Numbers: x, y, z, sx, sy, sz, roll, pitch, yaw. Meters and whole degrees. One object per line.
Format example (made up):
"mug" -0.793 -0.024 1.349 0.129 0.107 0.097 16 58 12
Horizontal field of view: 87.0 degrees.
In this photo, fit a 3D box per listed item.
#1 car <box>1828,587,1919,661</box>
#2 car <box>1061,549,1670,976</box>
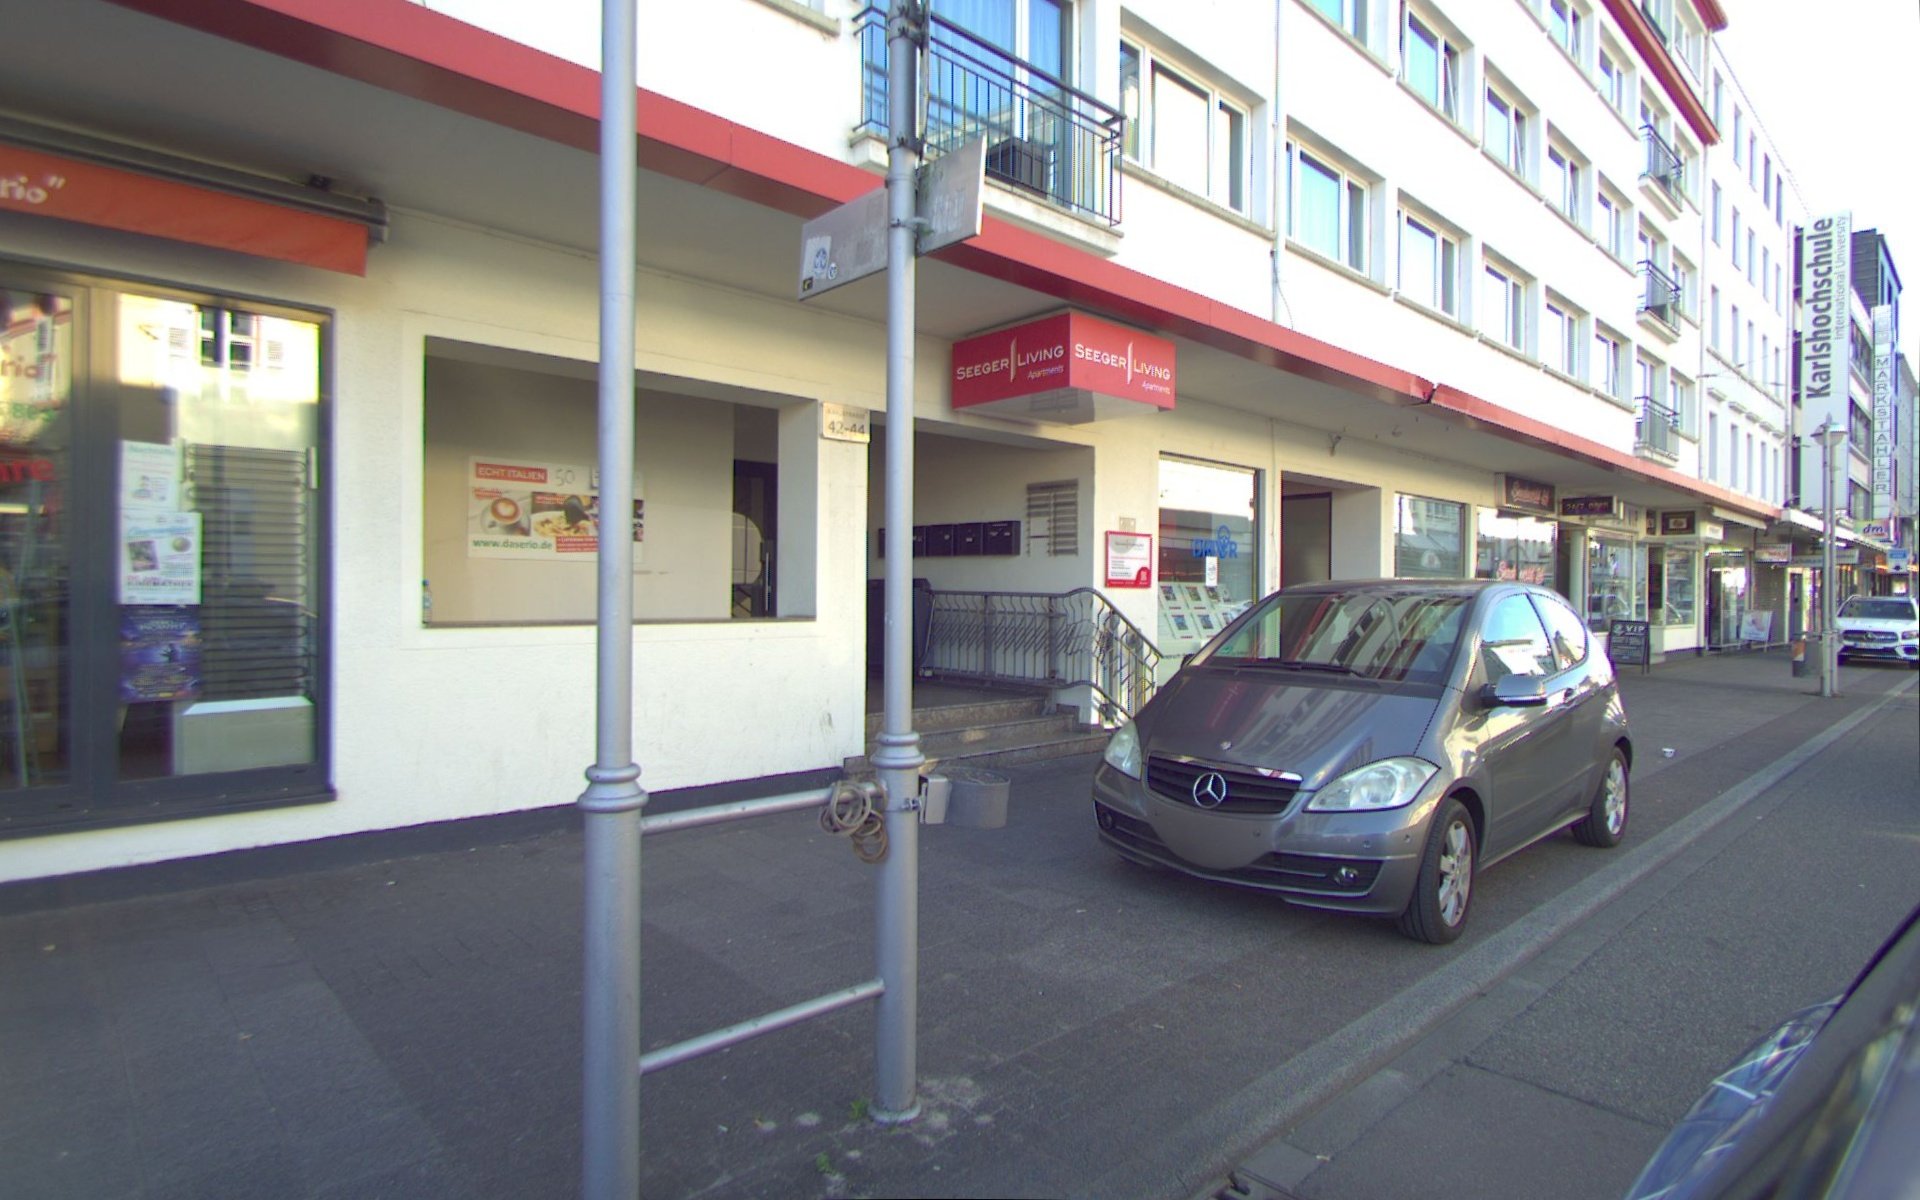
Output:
"car" 22.391 0.525 24.356 1.994 1.650 3.935 1 1 45
"car" 2.494 0.598 5.682 3.932 1.565 1.681 0 0 -43
